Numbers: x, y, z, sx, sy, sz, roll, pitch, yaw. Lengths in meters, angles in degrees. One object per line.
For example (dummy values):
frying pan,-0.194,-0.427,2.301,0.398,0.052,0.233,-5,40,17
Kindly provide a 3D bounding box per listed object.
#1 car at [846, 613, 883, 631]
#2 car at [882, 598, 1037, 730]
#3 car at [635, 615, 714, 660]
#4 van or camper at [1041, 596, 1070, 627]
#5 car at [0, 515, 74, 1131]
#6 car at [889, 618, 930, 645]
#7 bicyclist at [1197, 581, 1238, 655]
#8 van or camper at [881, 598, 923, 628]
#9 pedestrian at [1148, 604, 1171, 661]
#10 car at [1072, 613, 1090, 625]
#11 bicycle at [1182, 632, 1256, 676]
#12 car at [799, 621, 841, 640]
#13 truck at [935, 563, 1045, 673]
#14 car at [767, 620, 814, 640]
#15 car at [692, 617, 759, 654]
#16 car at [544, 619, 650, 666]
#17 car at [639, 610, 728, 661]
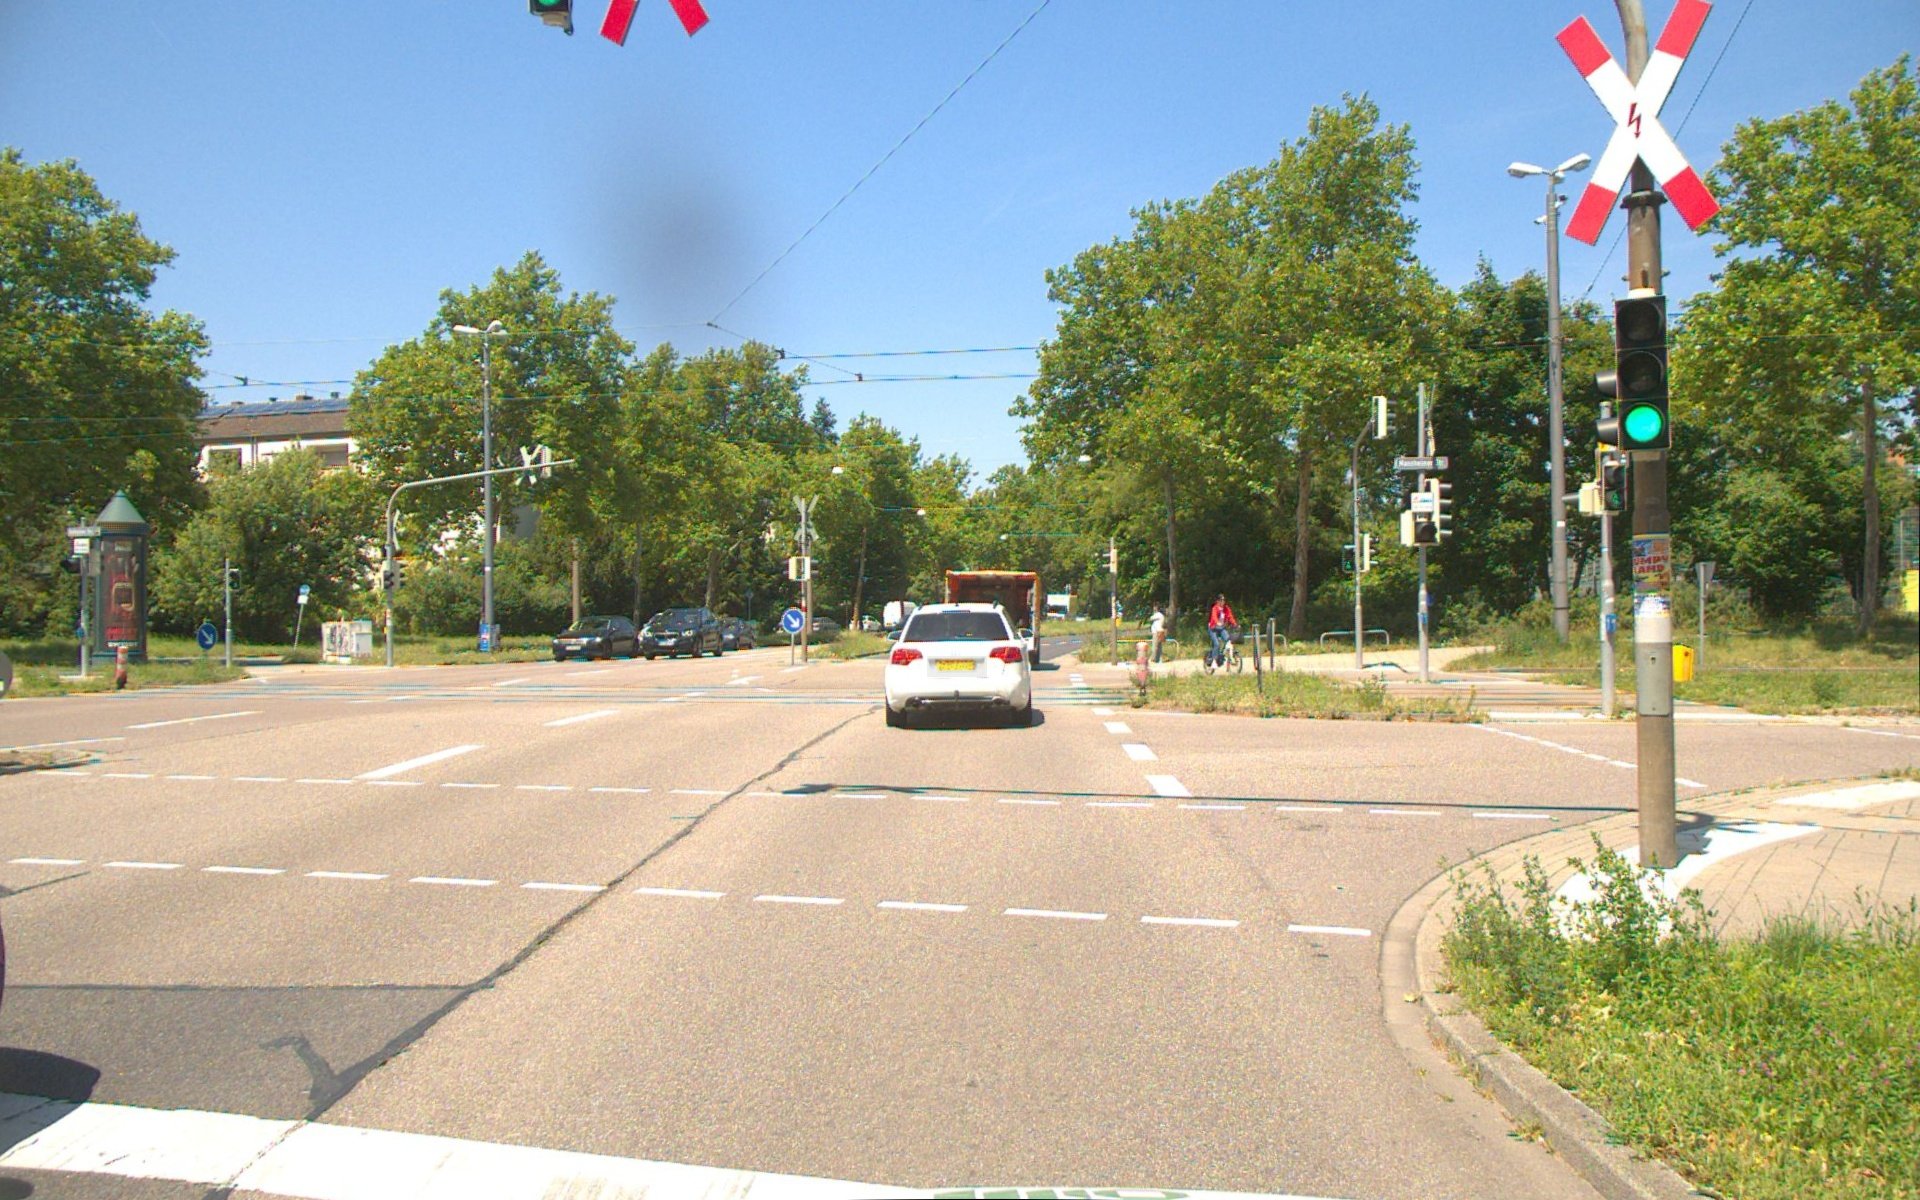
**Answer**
car,-7.995,1.837,138.719,1.841,1.500,4.003,-1,0,15
car,-0.009,0.733,20.347,1.726,1.471,3.615,0,0,0
car,-10.908,1.404,63.490,1.749,1.643,4.407,-1,0,8
van or camper,10.802,1.320,186.090,2.604,3.390,5.505,-1,-1,10
car,-3.648,0.633,2.844,1.816,1.786,4.647,0,0,-1
car,-2.863,1.797,94.631,1.699,1.419,4.181,1,0,7
bicyclist,5.601,0.396,36.045,0.572,1.584,0.666,0,-1,-32
van or camper,-5.174,1.136,147.766,2.136,2.633,5.312,-1,0,16
pedestrian,5.316,0.862,44.010,0.541,1.510,0.630,-1,-1,12
car,14.544,2.278,198.375,1.874,1.231,4.337,4,-1,6
bicycle,5.621,1.167,36.002,0.581,0.911,1.792,0,-1,-31
car,-10.907,2.385,128.986,1.842,1.400,4.001,-1,-1,19
truck,0.924,0.422,43.696,2.458,2.604,7.607,1,0,4
car,-12.637,2.235,123.514,1.843,1.417,3.999,-1,-1,22
car,-10.108,1.558,71.521,1.683,1.481,3.871,0,-3,11
car,-12.181,1.398,55.781,1.907,1.465,4.750,-1,0,8
car,-8.936,1.109,53.863,1.869,1.566,4.301,-1,0,4
